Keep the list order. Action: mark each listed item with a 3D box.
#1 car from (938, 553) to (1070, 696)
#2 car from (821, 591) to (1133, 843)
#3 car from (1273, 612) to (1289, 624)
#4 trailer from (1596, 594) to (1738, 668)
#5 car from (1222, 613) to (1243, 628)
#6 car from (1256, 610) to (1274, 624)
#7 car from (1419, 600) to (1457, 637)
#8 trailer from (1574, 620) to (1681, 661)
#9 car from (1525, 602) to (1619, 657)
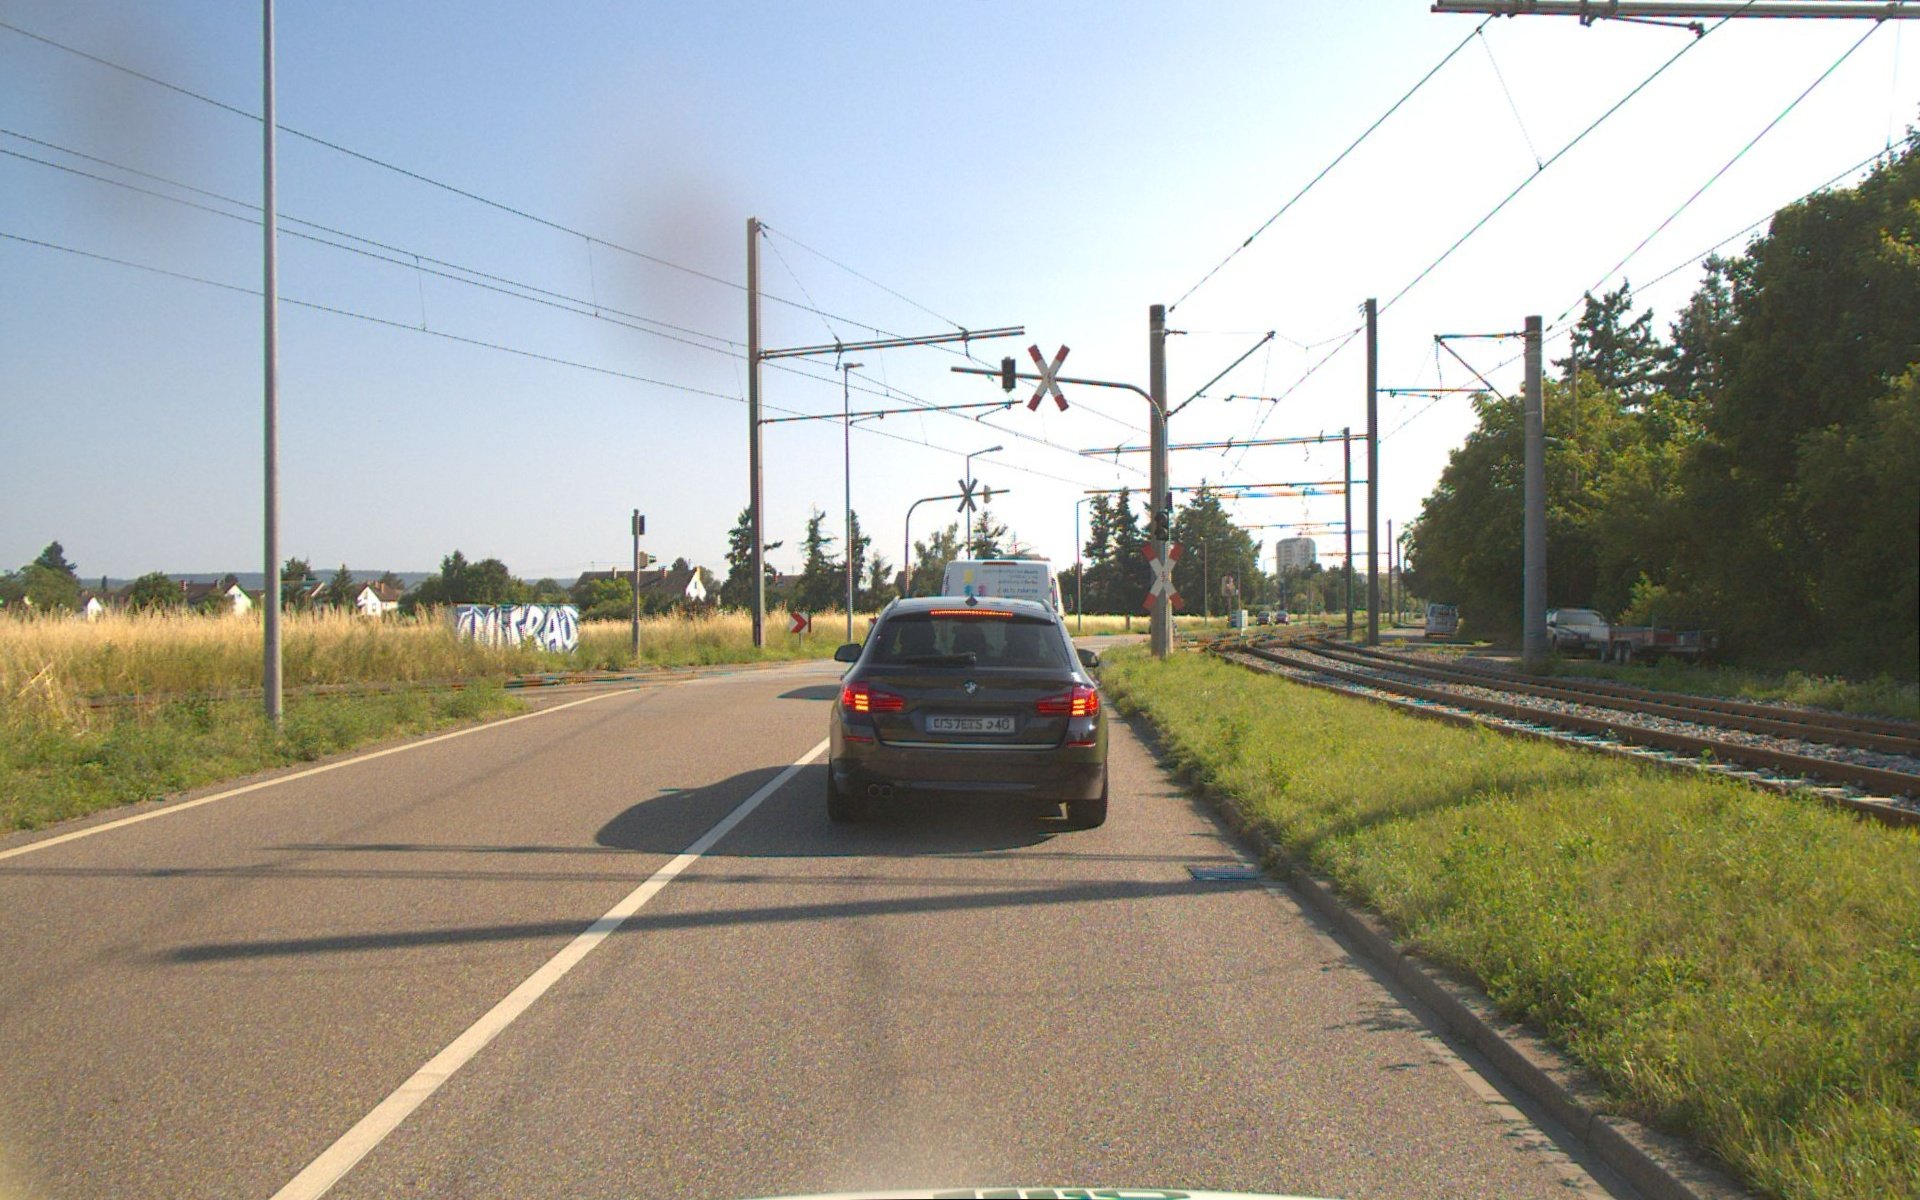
[{"bbox_3d":[0.798,0.354,26.186,1.818,2.023,5.111,0,0,4],"label":"car"},{"bbox_3d":[0.081,0.682,12.126,1.831,1.478,4.743,0,0,-1],"label":"car"},{"bbox_3d":[41.606,2.326,214.596,1.676,1.576,3.930,0,0,16],"label":"car"},{"bbox_3d":[17.109,0.723,40.223,1.983,1.624,4.262,2,0,6],"label":"trailer"},{"bbox_3d":[27.687,2.104,167.872,1.657,1.465,4.286,1,0,15],"label":"car"},{"bbox_3d":[36.100,2.025,195.757,1.670,1.694,4.593,0,0,15],"label":"car"},{"bbox_3d":[27.984,1.059,96.910,1.951,2.039,5.070,2,0,15],"label":"car"},{"bbox_3d":[17.783,1.064,44.216,1.695,0.956,3.731,3,0,7],"label":"trailer"},{"bbox_3d":[18.047,0.832,48.988,1.662,1.482,4.884,2,0,9],"label":"car"}]
